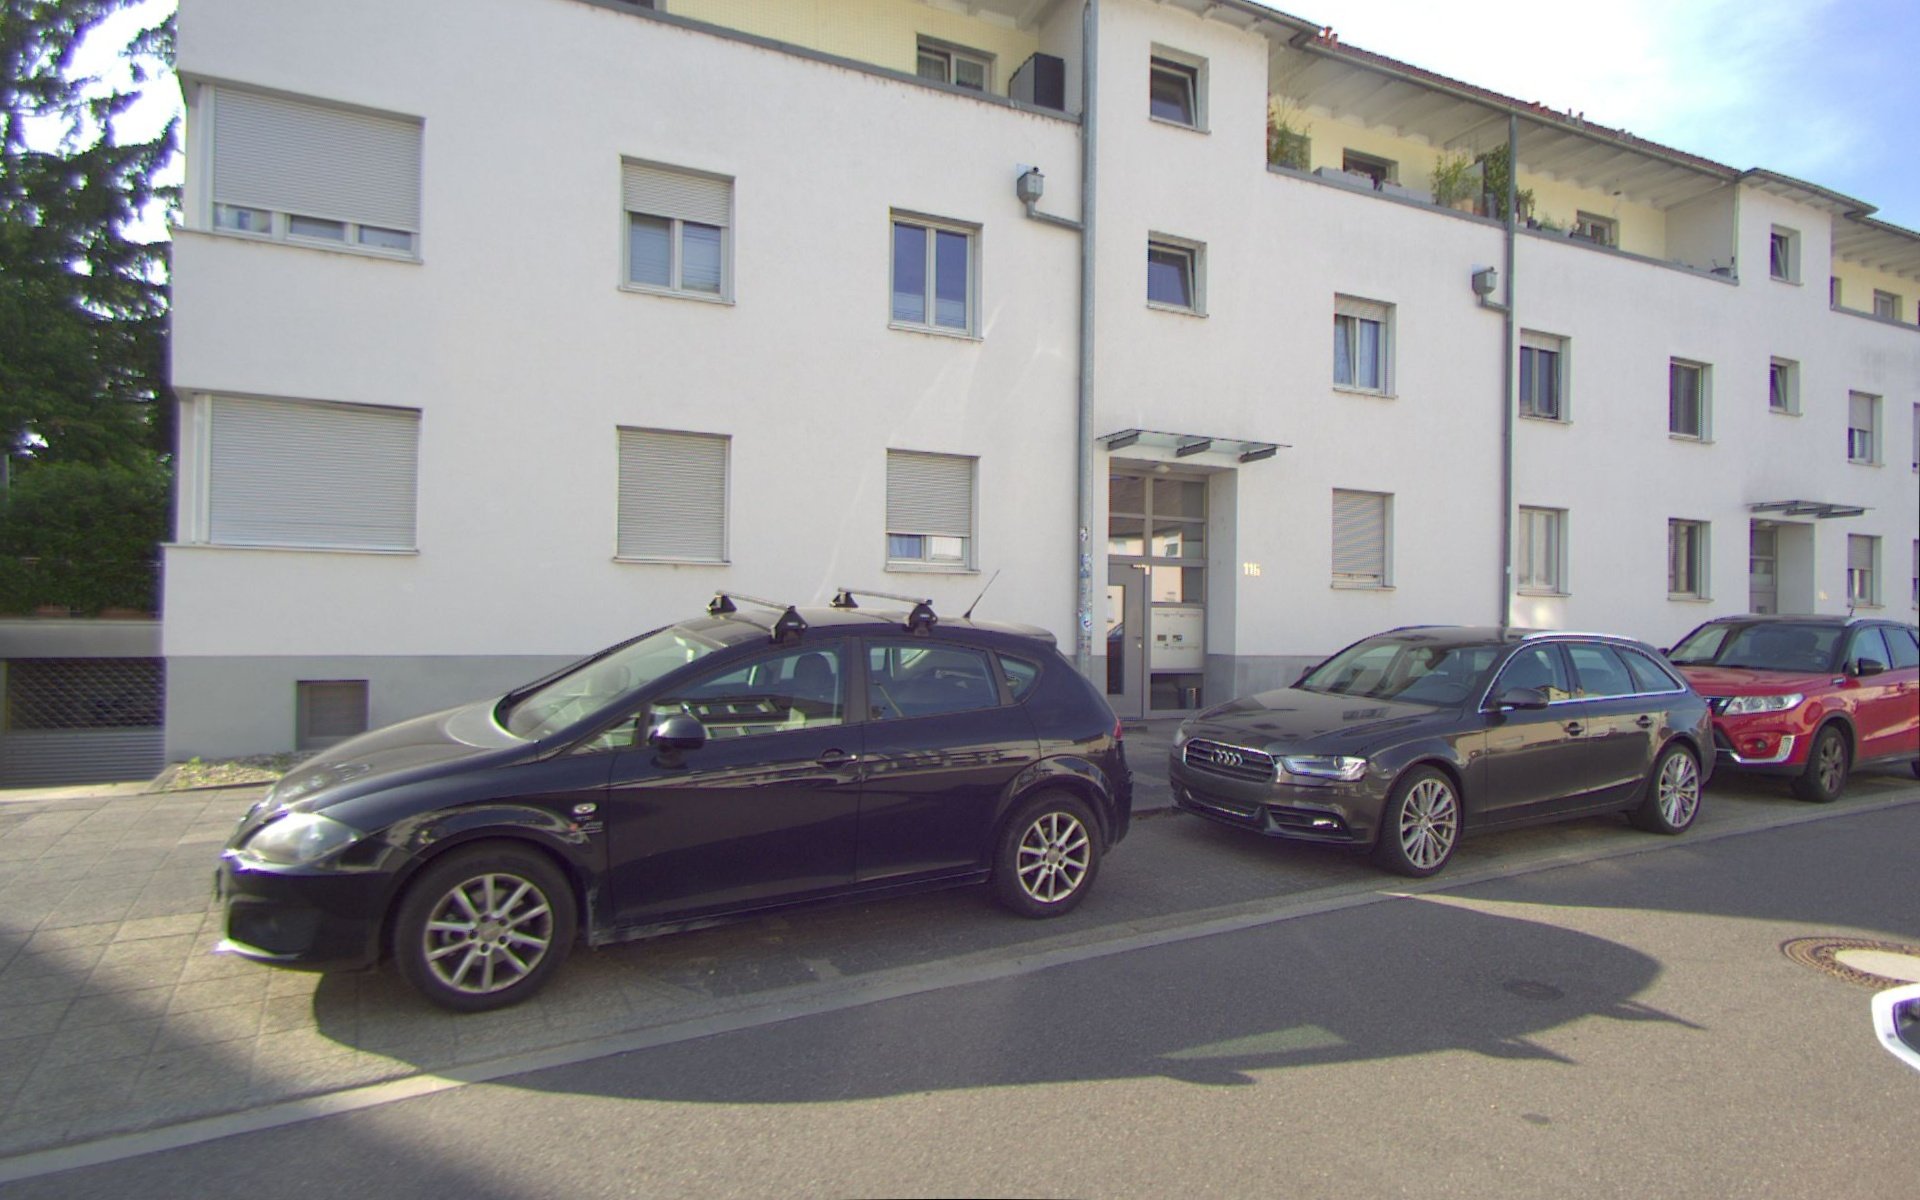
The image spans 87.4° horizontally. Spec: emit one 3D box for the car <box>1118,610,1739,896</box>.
[{"bbox_3d":[3.458,0.880,7.231,4.446,1.497,1.720,1,1,-28],"label":"car"}]

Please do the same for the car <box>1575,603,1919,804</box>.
[{"bbox_3d":[8.198,0.889,9.958,4.210,1.643,1.720,1,-1,-28],"label":"car"}]

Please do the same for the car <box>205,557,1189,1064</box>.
[{"bbox_3d":[-1.044,0.698,5.032,4.127,1.644,1.768,1,1,-29],"label":"car"}]

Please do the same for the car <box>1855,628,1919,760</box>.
[{"bbox_3d":[13.048,1.139,12.346,4.210,1.497,1.720,1,0,-28],"label":"car"}]
